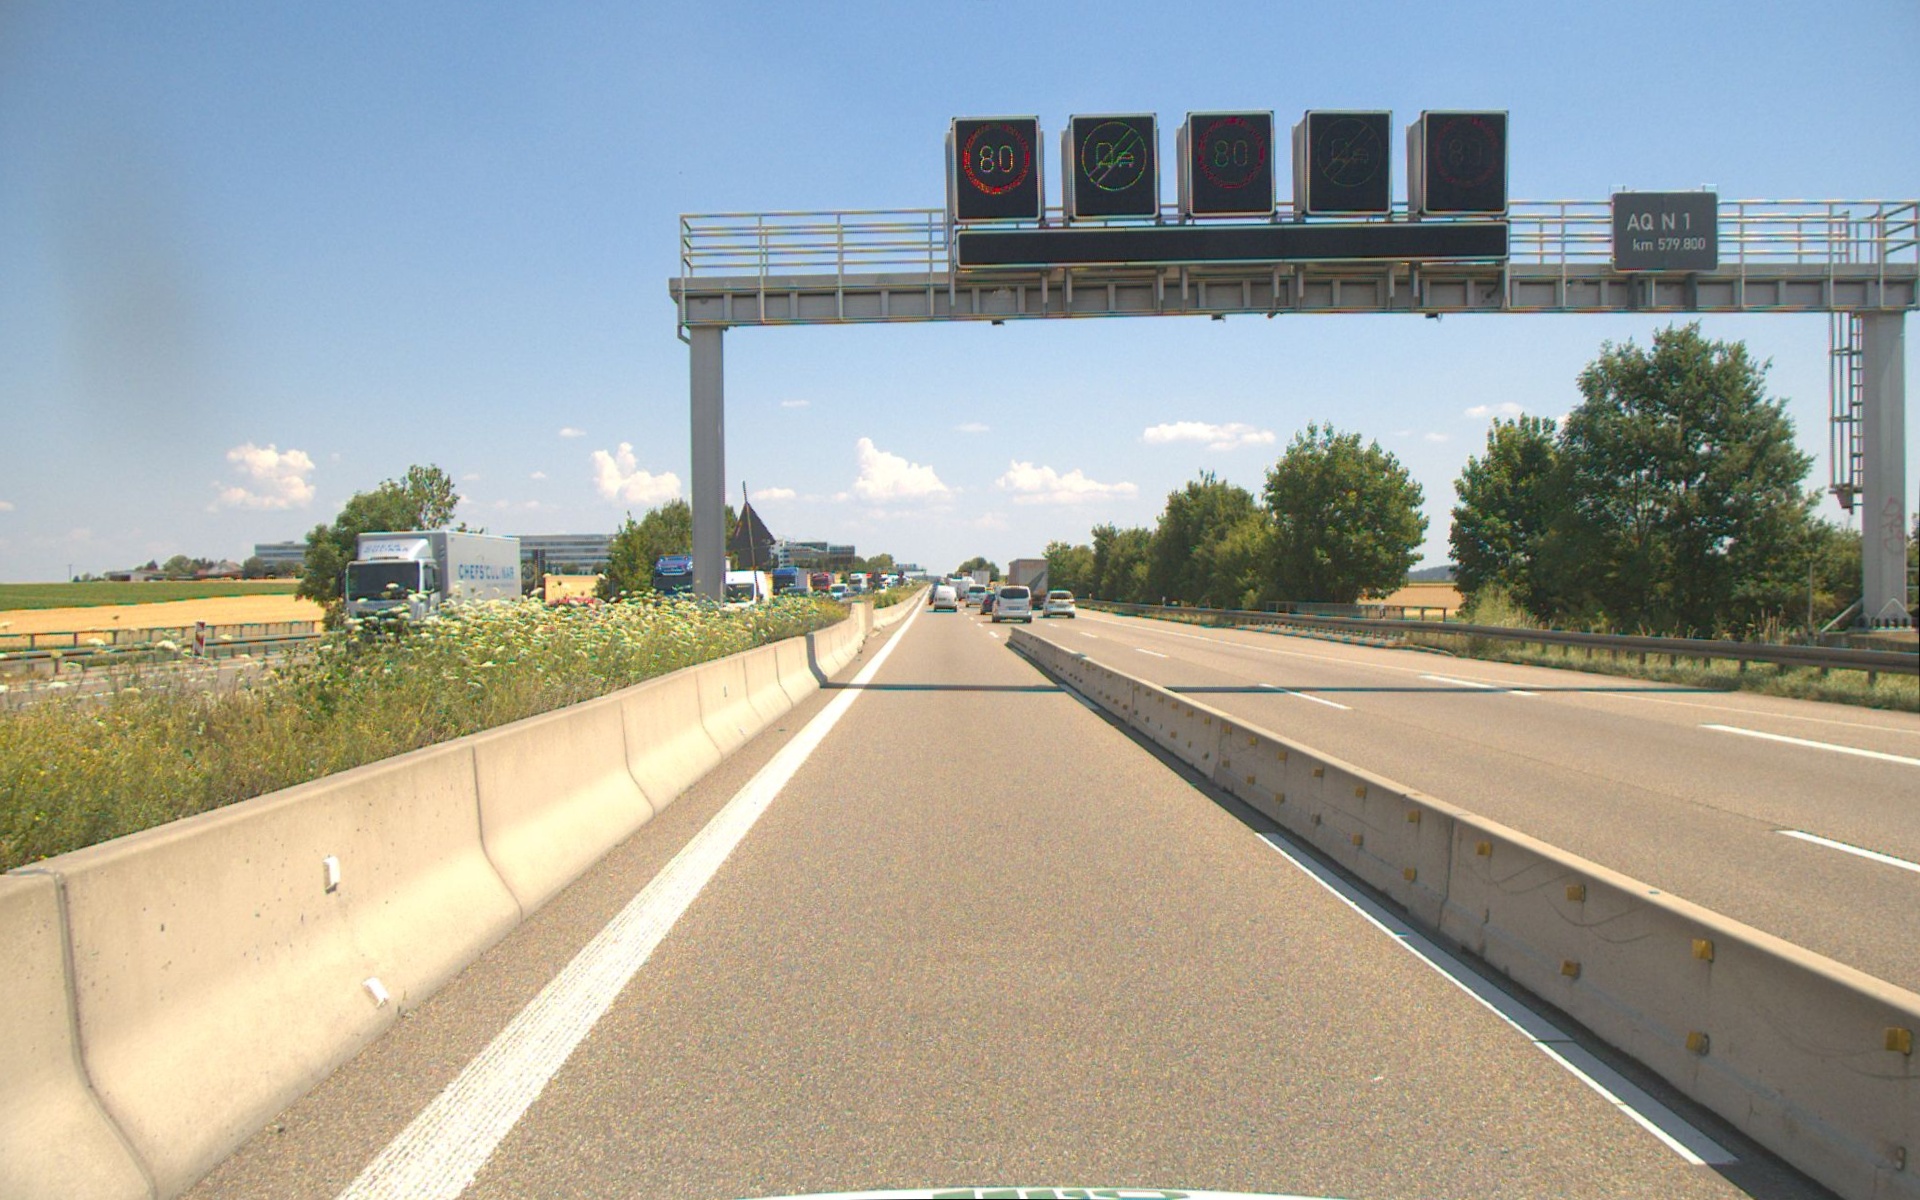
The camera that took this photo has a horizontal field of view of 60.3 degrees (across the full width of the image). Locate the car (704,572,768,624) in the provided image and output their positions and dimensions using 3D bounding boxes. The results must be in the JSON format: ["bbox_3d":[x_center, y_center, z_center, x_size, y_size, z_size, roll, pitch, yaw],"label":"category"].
[{"bbox_3d":[-8.861,-0.084,65.798,1.953,1.980,4.793,-1,0,-2],"label":"car"}]

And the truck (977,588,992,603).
[{"bbox_3d":[3.448,-0.563,230.175,1.953,2.049,3.999,-1,0,-1],"label":"truck"}]

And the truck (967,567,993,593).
[{"bbox_3d":[3.144,-3.140,262.984,3.738,3.973,9.578,-1,0,-1],"label":"truck"}]

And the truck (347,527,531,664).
[{"bbox_3d":[-15.615,-0.159,50.351,2.644,3.683,8.786,-2,0,0],"label":"truck"}]

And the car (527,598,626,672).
[{"bbox_3d":[-8.840,0.765,38.367,1.527,1.597,3.703,-1,0,-2],"label":"car"}]

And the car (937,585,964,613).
[{"bbox_3d":[-0.750,-0.069,122.639,1.953,2.049,3.999,0,-1,-1],"label":"car"}]

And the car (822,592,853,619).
[{"bbox_3d":[-7.599,0.347,103.041,1.650,1.593,4.561,-1,0,-2],"label":"car"}]

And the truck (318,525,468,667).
[{"bbox_3d":[-15.617,-0.117,45.813,2.643,3.650,4.000,-2,0,0],"label":"truck"}]

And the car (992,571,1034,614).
[{"bbox_3d":[2.705,-0.367,85.280,1.953,2.157,3.999,0,-1,-1],"label":"car"}]

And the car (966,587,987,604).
[{"bbox_3d":[1.453,-0.399,147.786,1.737,1.472,3.999,0,-1,-1],"label":"car"}]

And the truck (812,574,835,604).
[{"bbox_3d":[-18.845,-1.528,228.869,2.798,3.922,3.999,-2,0,-1],"label":"truck"}]

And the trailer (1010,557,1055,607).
[{"bbox_3d":[6.002,-1.465,139.030,3.211,4.036,9.110,0,-1,-1],"label":"trailer"}]

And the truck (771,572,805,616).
[{"bbox_3d":[-17.596,-0.622,169.594,2.807,4.426,5.585,-1,0,-1],"label":"truck"}]

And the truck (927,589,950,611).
[{"bbox_3d":[-2.111,-0.017,162.352,2.167,2.049,4.970,-1,0,-2],"label":"truck"}]

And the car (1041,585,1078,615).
[{"bbox_3d":[6.063,0.021,101.454,1.953,1.825,3.999,0,-1,-1],"label":"car"}]

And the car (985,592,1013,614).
[{"bbox_3d":[2.595,0.206,111.780,1.737,1.472,3.999,0,-1,-1],"label":"car"}]

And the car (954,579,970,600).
[{"bbox_3d":[0.245,-1.282,195.811,1.737,2.434,3.999,0,-1,-1],"label":"car"}]

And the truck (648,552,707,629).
[{"bbox_3d":[-16.752,-0.582,98.315,2.540,4.312,4.853,-3,0,-1],"label":"truck"}]

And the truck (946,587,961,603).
[{"bbox_3d":[-0.844,-0.686,225.787,1.953,2.049,3.999,-1,0,-1],"label":"truck"}]

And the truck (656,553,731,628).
[{"bbox_3d":[-16.892,-0.596,105.795,2.540,4.312,14.119,-3,0,-1],"label":"truck"}]

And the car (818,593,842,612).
[{"bbox_3d":[-14.817,0.284,189.057,2.139,2.049,5.763,-1,0,1],"label":"car"}]
